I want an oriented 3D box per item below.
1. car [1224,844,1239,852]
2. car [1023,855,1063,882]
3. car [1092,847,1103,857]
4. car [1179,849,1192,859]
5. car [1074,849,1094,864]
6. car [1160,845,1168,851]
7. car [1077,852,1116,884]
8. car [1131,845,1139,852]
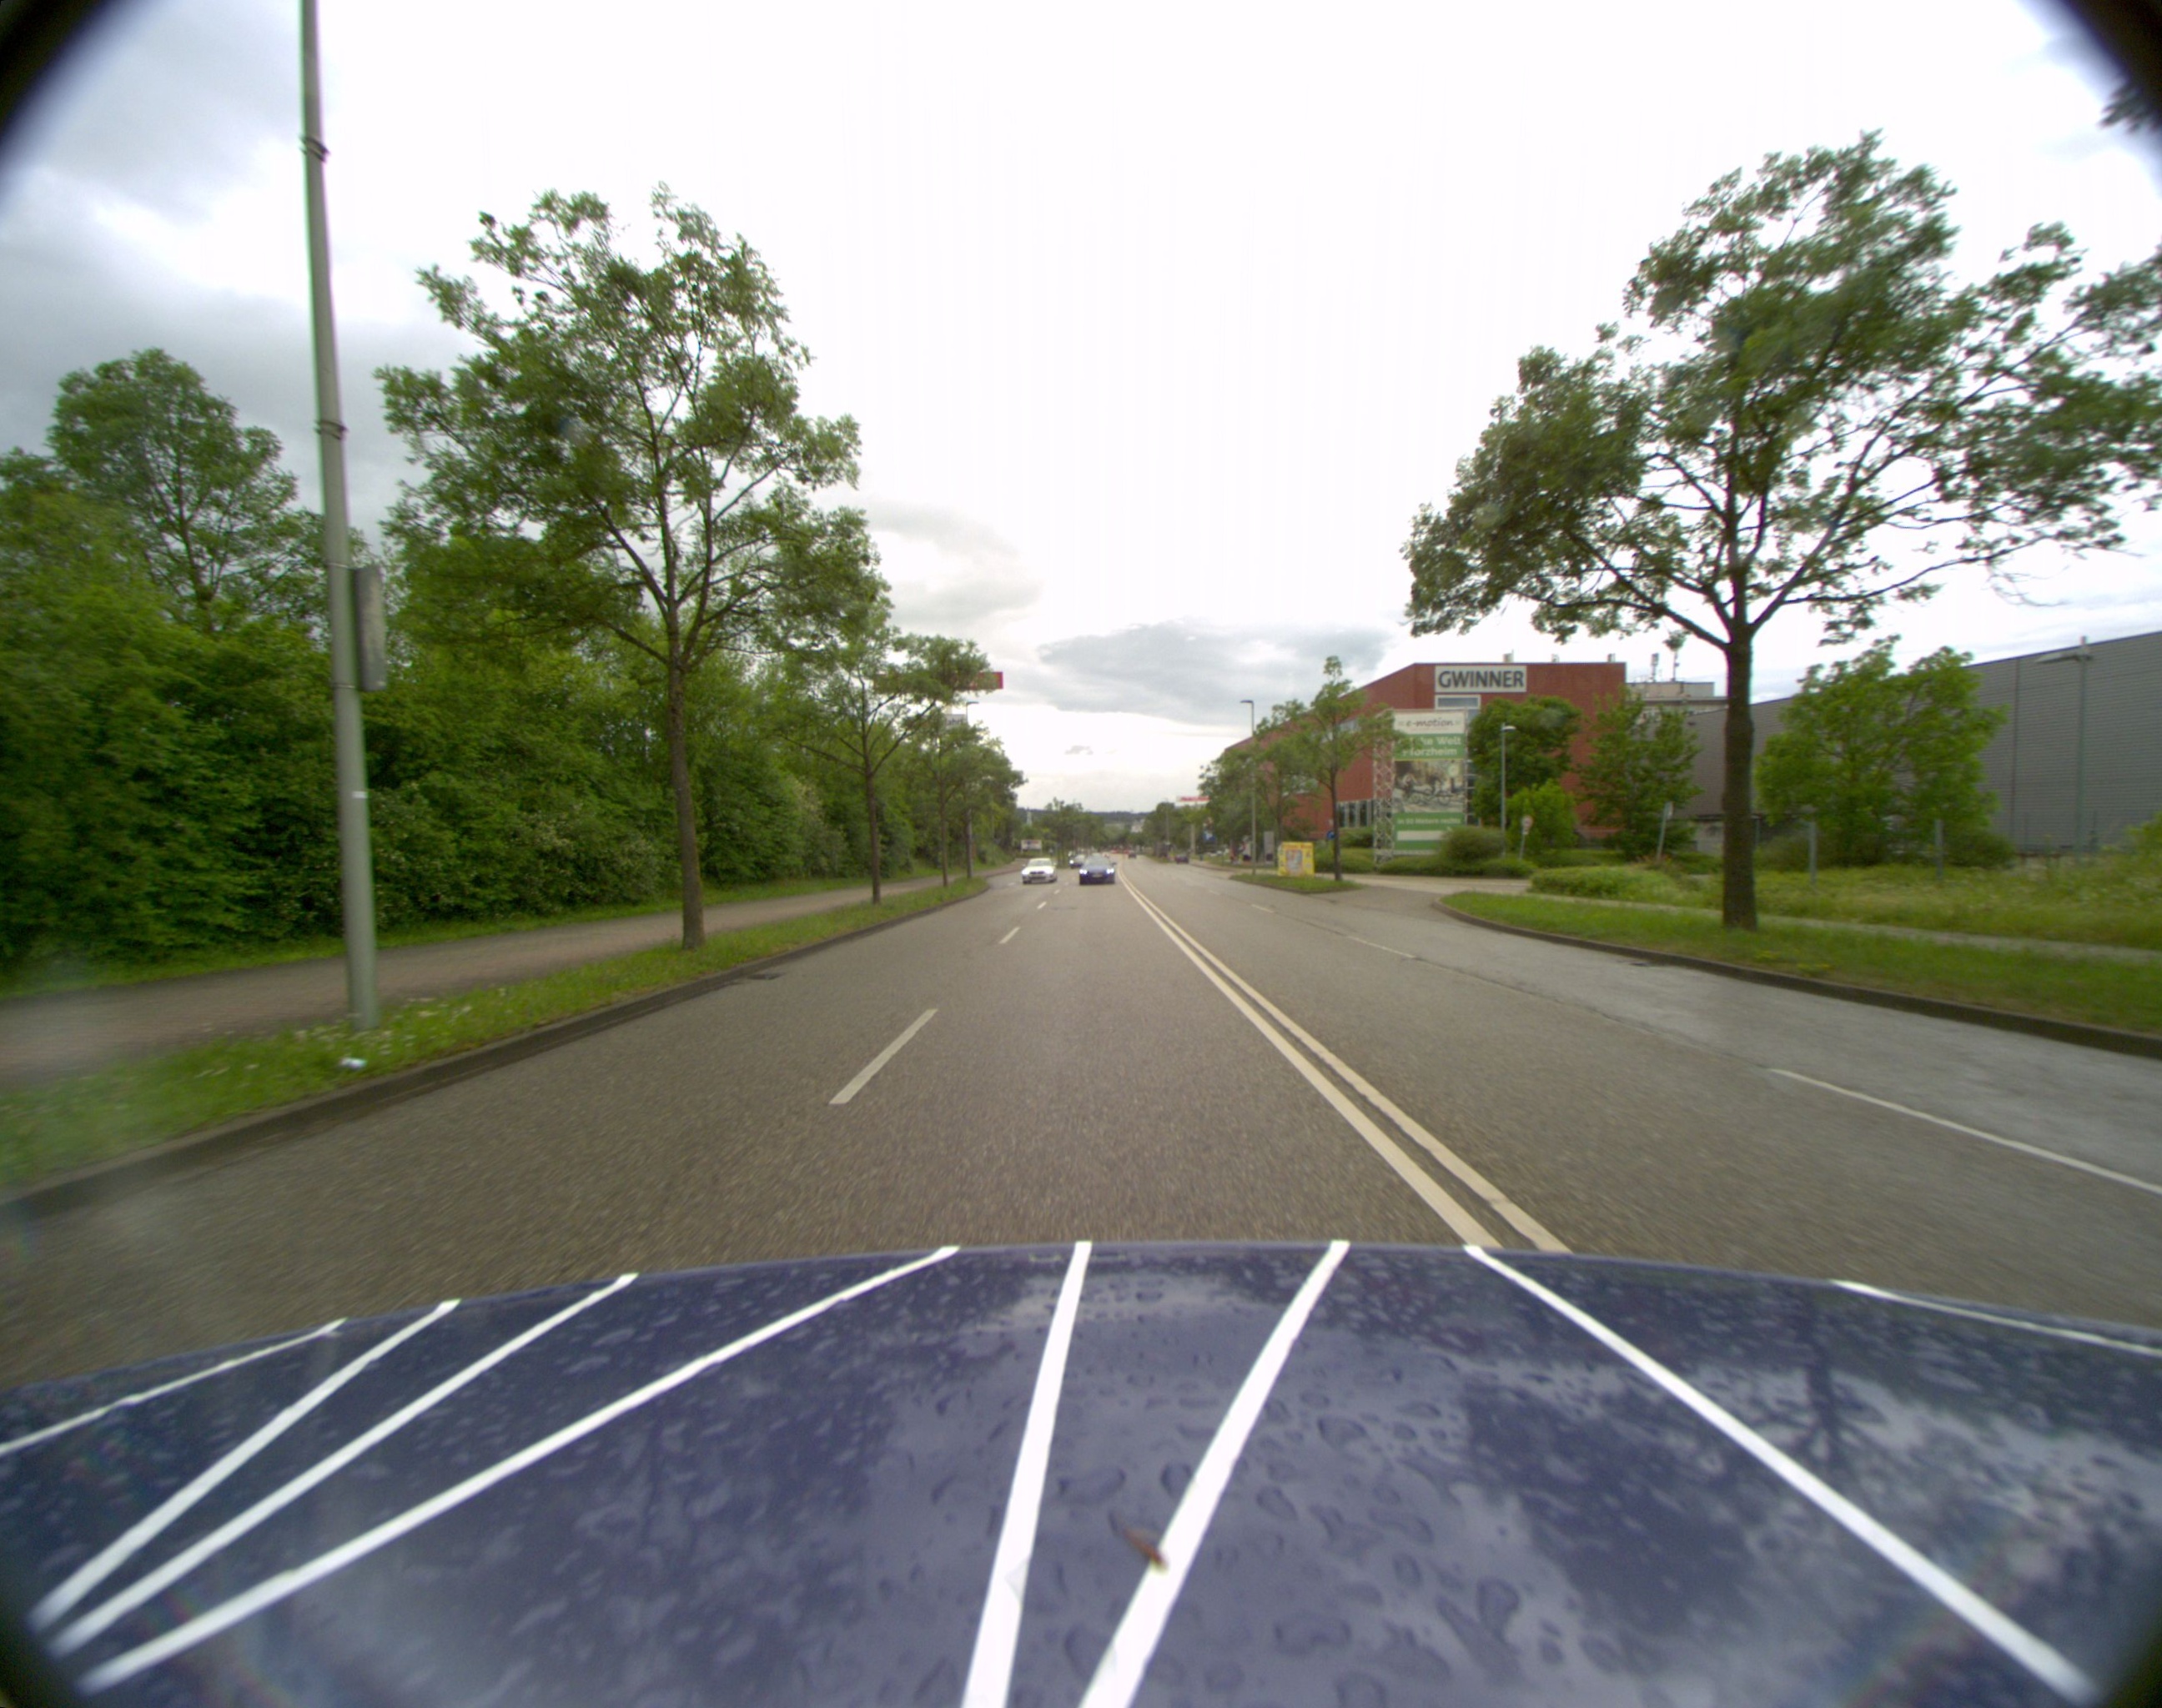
[{"bbox_3d":[29.957,-1.132,151.411,1.833,1.608,4.437,-1,1,-4],"label":"car"},{"bbox_3d":[-2.213,0.823,45.437,1.863,1.473,4.001,-2,1,5],"label":"car"},{"bbox_3d":[2.906,-0.367,136.111,1.853,1.565,3.998,-2,2,0],"label":"car"},{"bbox_3d":[15.522,0.005,112.517,1.740,1.445,4.001,1,1,6],"label":"car"},{"bbox_3d":[0.369,0.288,87.805,2.113,1.610,4.840,-2,1,3],"label":"car"},{"bbox_3d":[23.434,-1.735,214.047,1.831,1.608,4.002,-2,0,8],"label":"car"},{"bbox_3d":[0.877,0.662,39.553,1.827,1.473,4.840,-2,1,3],"label":"car"},{"bbox_3d":[12.293,-1.266,173.758,1.863,1.568,4.321,1,0,3],"label":"car"}]
